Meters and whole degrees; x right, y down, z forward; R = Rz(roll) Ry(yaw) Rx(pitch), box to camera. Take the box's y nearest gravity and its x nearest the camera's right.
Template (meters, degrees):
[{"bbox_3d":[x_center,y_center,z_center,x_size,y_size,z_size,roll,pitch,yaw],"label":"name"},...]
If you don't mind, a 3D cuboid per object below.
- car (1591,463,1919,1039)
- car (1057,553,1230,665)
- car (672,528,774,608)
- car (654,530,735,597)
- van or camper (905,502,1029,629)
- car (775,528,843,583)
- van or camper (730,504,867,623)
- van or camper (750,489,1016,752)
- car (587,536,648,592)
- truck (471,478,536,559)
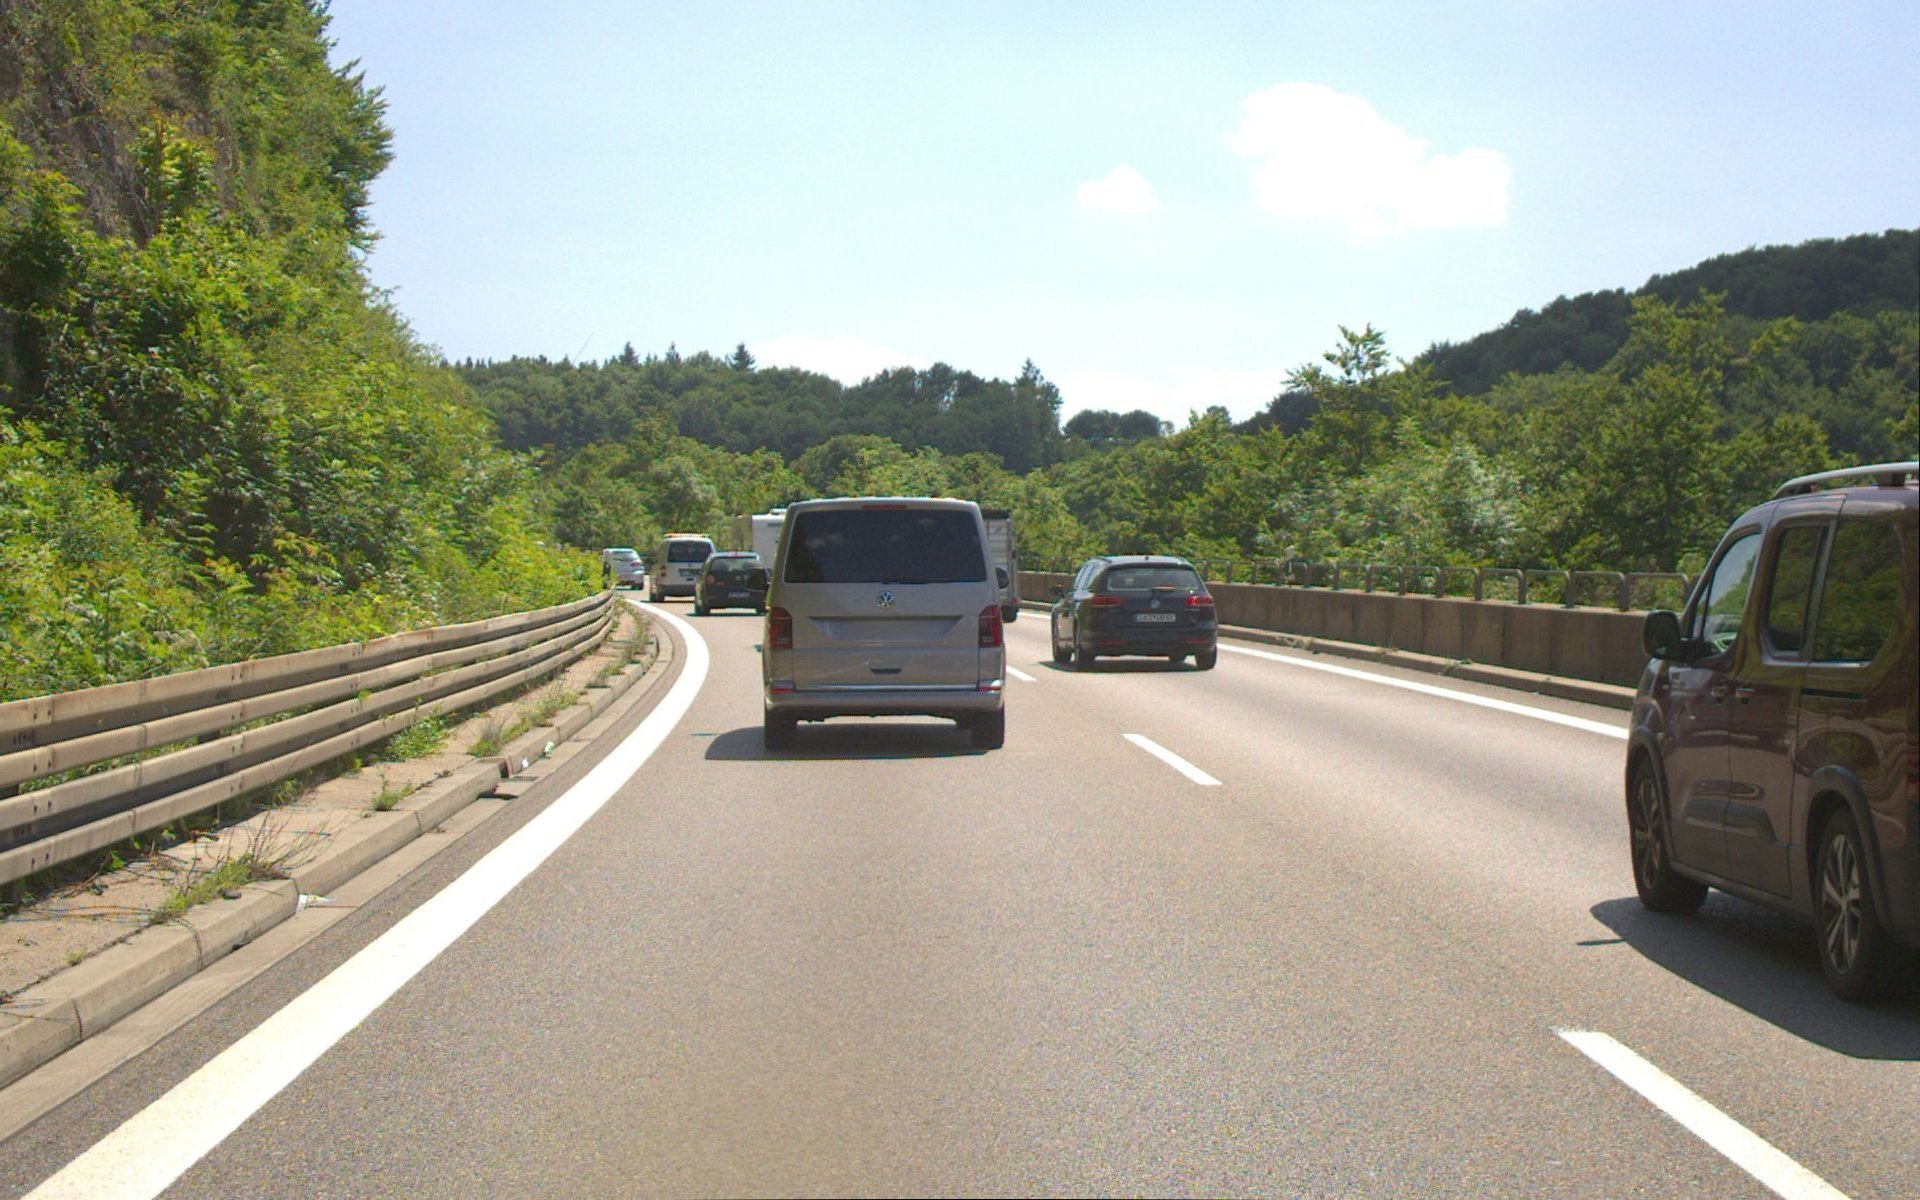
[{"bbox_3d":[3.763,0.448,12.964,1.833,1.778,4.676,0,0,-1],"label":"car"},{"bbox_3d":[2.341,0.086,44.724,1.768,1.371,3.593,0,1,-5],"label":"car"},{"bbox_3d":[-5.498,-0.754,79.347,1.993,1.811,4.001,0,1,-9],"label":"car"},{"bbox_3d":[-7.388,-1.027,95.974,1.993,1.811,4.000,0,1,-1],"label":"car"},{"bbox_3d":[0.112,-0.731,72.715,2.263,2.542,4.737,-1,1,-4],"label":"van or camper"},{"bbox_3d":[-5.609,-1.650,127.608,1.993,2.007,4.001,0,1,-10],"label":"car"},{"bbox_3d":[-5.382,-1.221,112.941,3.275,3.776,8.114,0,1,-12],"label":"van or camper"},{"bbox_3d":[-0.702,0.124,27.842,1.875,1.943,4.294,-1,1,-5],"label":"van or camper"},{"bbox_3d":[-11.942,-1.271,119.804,1.993,1.908,4.001,0,1,-7],"label":"car"},{"bbox_3d":[-26.654,-4.682,200.427,3.291,4.504,7.731,-1,0,-10],"label":"truck"}]
